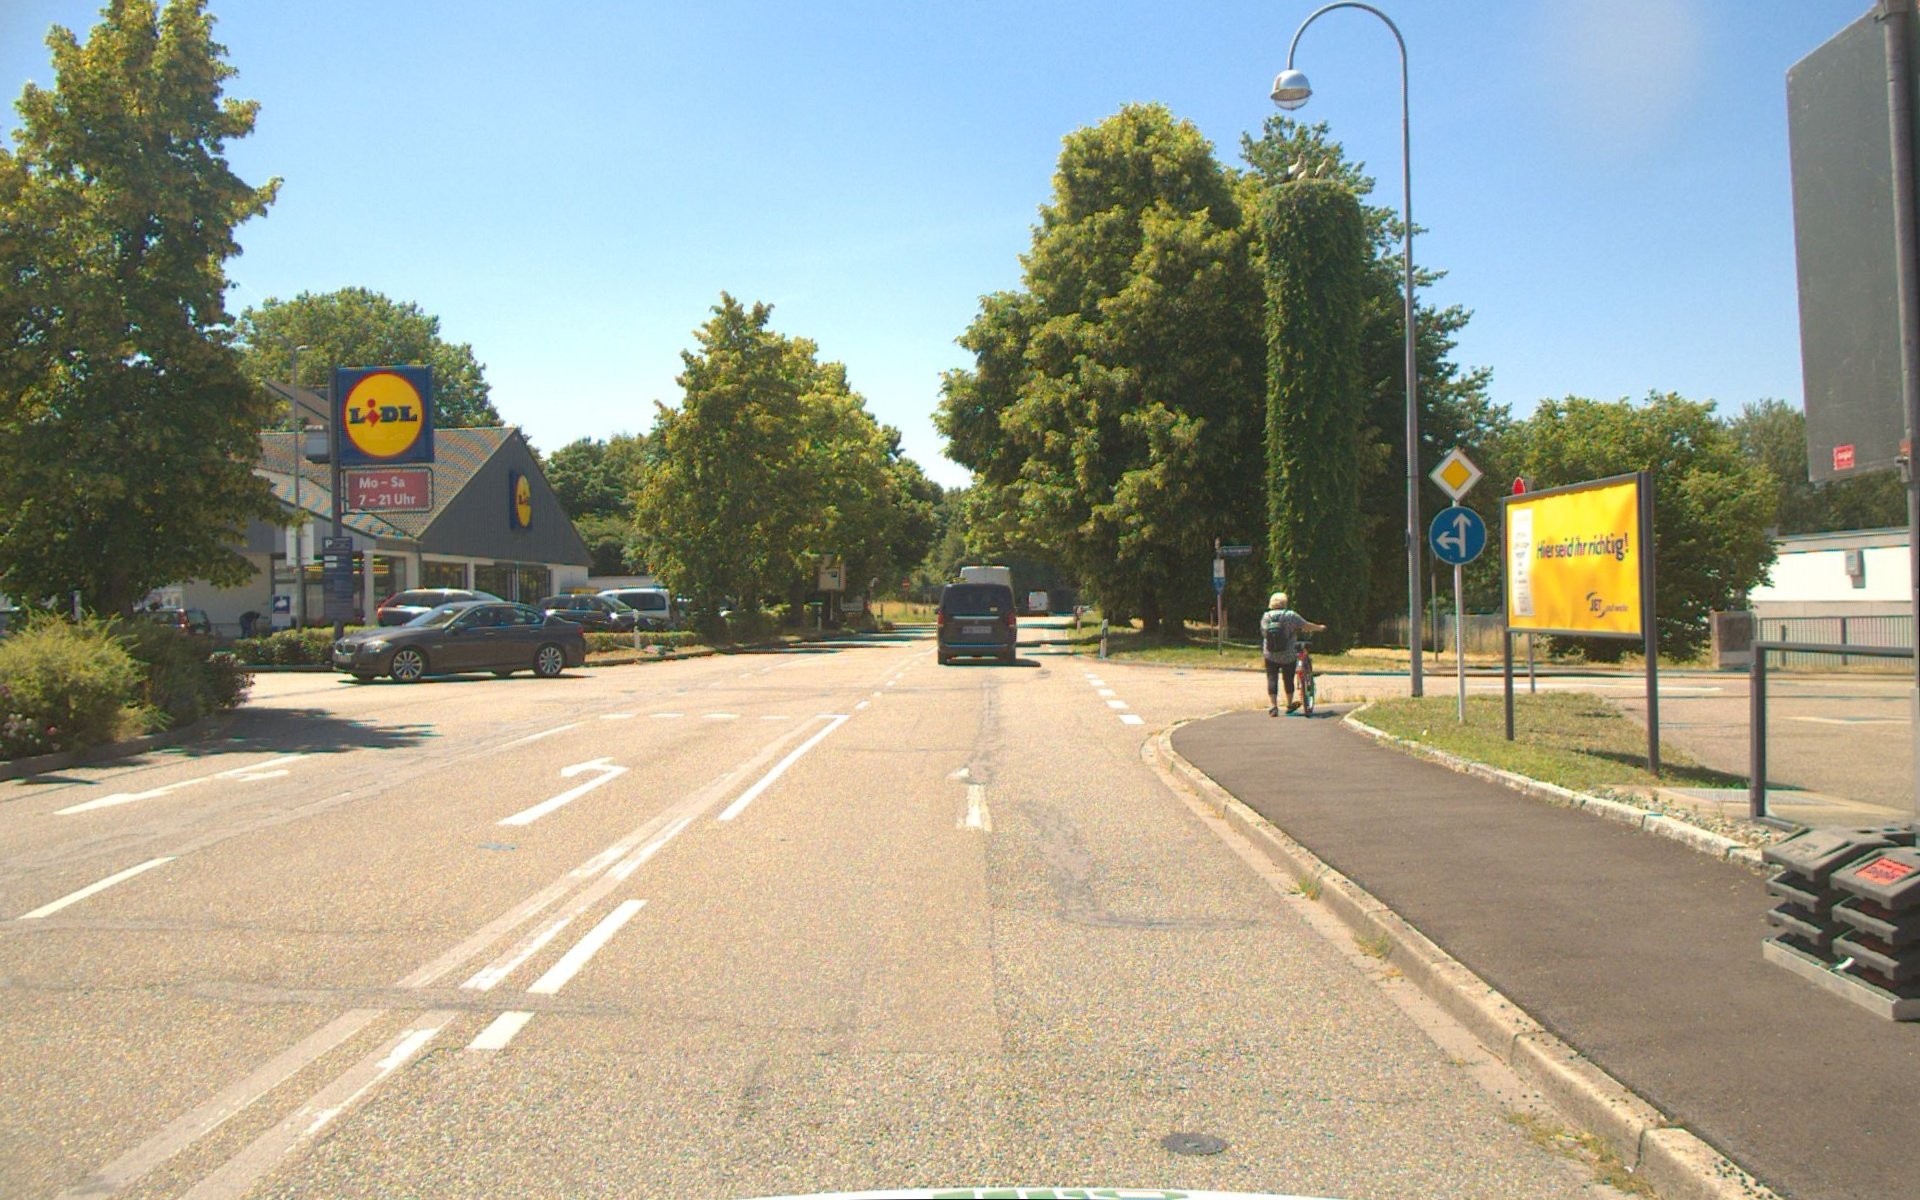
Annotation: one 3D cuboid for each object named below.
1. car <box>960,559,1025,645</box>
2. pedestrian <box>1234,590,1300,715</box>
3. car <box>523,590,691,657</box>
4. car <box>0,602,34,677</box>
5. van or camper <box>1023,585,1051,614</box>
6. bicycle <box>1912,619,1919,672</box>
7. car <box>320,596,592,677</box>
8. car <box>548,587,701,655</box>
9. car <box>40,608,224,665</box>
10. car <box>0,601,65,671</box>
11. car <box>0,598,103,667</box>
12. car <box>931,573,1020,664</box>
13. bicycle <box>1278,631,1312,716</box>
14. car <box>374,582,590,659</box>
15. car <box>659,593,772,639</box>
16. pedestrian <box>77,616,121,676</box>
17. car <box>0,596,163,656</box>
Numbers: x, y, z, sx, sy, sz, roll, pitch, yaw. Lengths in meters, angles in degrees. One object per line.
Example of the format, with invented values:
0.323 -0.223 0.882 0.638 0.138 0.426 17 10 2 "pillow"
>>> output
1.128 0.074 55.871 2.035 2.750 4.667 1 0 2 "car"
3.661 0.611 19.704 0.752 1.446 0.868 0 0 11 "pedestrian"
-10.221 0.672 48.024 4.292 1.877 2.105 0 -1 8 "car"
-23.025 0.860 36.480 4.154 1.617 1.767 0 -1 -7 "car"
8.280 -0.031 178.895 2.578 2.980 5.204 1 -1 -2 "van or camper"
21.107 0.954 34.962 1.658 1.117 0.468 0 -1 4 "bicycle"
-9.481 0.674 31.402 1.903 1.425 4.662 0 -1 41 "car"
-10.241 0.636 50.742 4.267 2.015 1.905 0 -1 0 "car"
-23.228 1.022 46.507 4.225 1.557 1.827 0 -1 -2 "car"
-23.794 0.842 39.072 4.229 1.634 1.909 0 -1 -7 "car"
-24.417 0.804 41.961 4.225 1.684 2.113 0 -1 -2 "car"
0.367 0.425 39.652 1.953 1.987 5.004 1 0 0 "car"
3.936 0.847 19.450 0.370 0.928 1.599 0 0 11 "bicycle"
-11.669 0.497 40.531 4.608 1.793 2.100 0 -1 6 "car"
-10.075 0.662 68.445 4.310 1.807 2.072 1 0 1 "car"
-21.756 1.150 41.794 0.875 1.509 0.803 1 -1 -21 "pedestrian"
-24.015 0.705 44.479 4.225 1.557 1.827 0 -1 -2 "car"
